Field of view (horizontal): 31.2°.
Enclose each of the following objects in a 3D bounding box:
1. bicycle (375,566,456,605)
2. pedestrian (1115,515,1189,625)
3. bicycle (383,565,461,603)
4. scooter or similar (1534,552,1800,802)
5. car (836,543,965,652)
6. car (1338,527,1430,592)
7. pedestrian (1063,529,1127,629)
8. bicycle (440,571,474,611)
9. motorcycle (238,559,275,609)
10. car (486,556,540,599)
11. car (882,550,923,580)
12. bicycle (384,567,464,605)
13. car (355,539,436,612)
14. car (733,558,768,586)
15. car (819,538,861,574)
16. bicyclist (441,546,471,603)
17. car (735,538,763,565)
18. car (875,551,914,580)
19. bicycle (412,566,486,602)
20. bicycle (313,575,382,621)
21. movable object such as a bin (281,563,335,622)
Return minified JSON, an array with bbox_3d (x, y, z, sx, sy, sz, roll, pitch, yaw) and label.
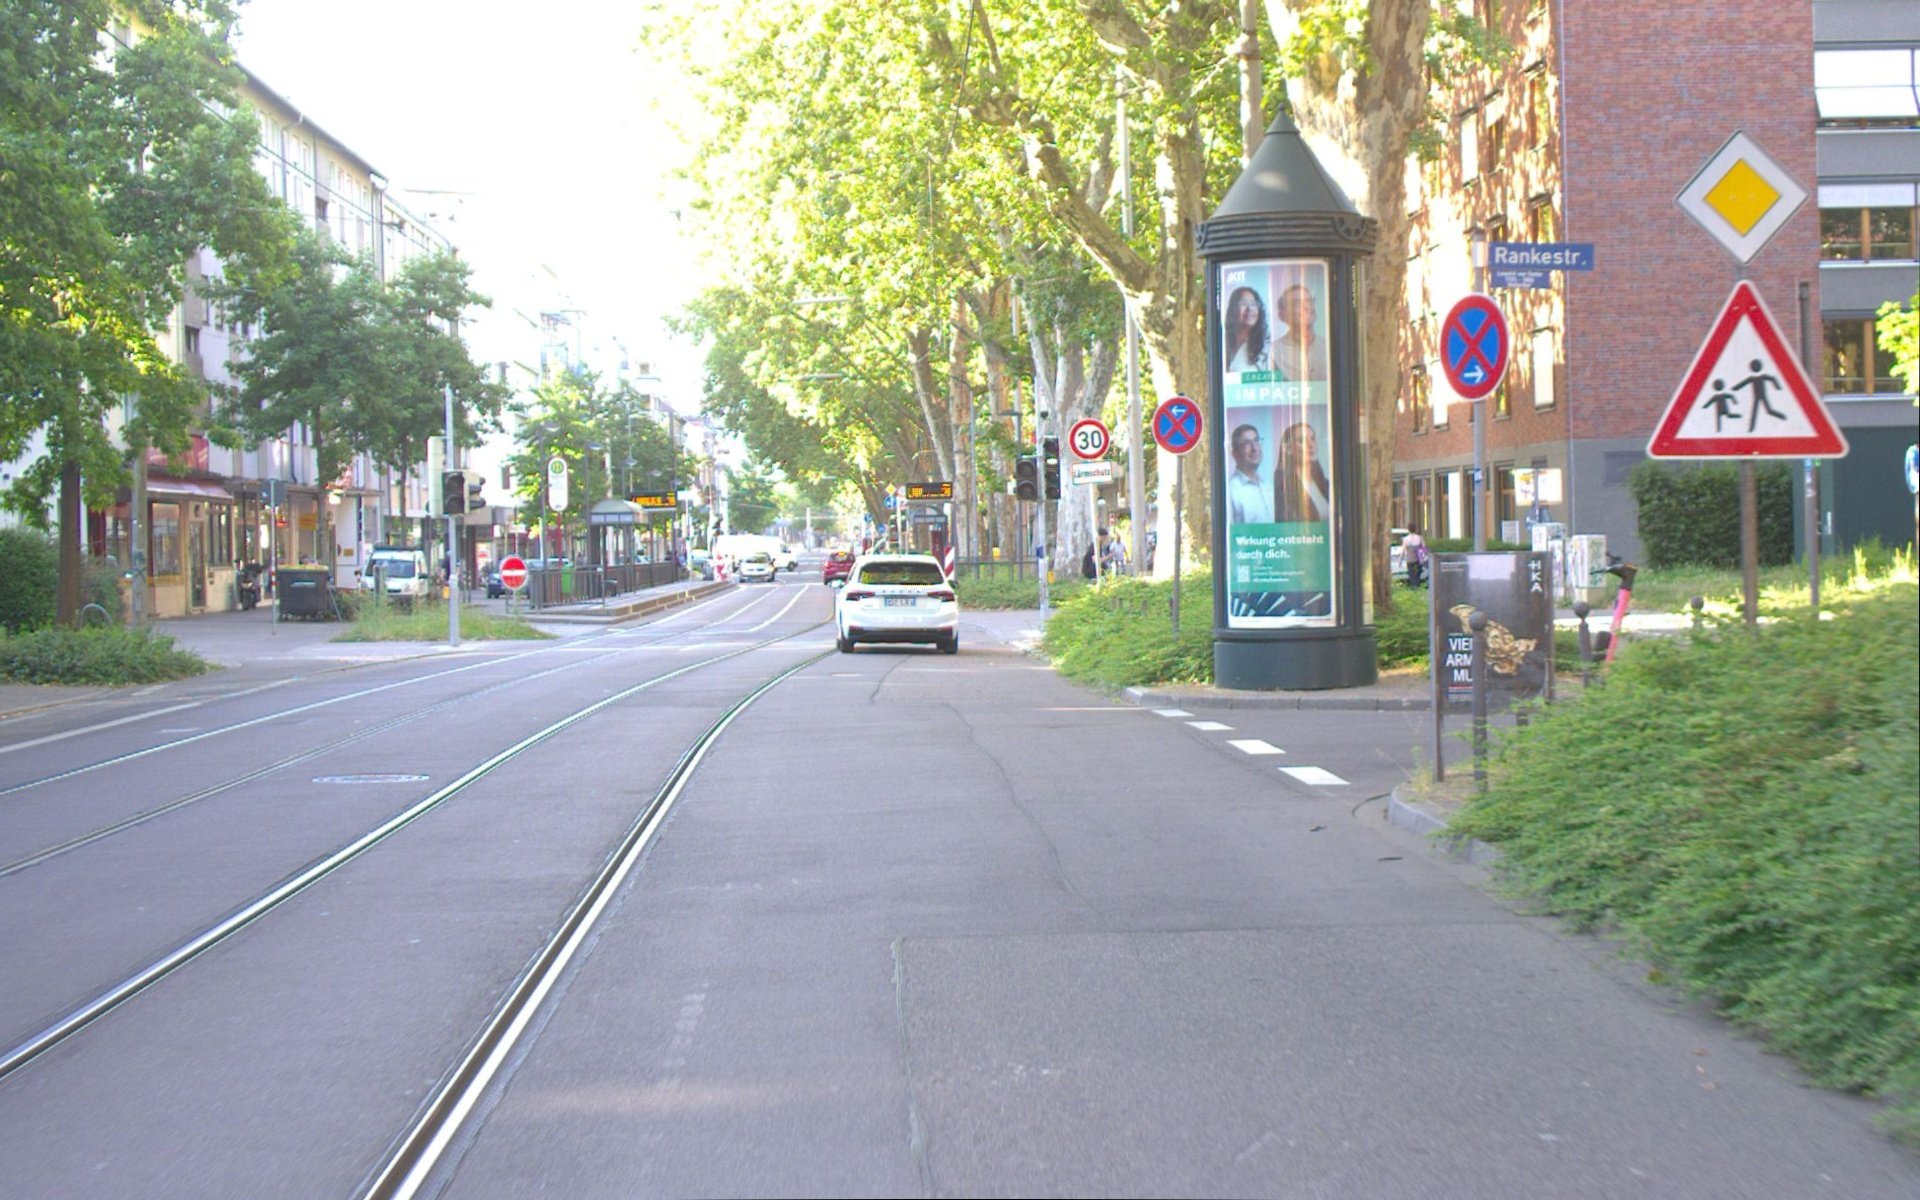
[{"bbox_3d":[-15.978,-0.416,100.971,2.253,1.070,0.636,2,1,-1],"label":"bicycle"},{"bbox_3d":[3.415,-0.542,61.199,0.982,1.857,1.016,-5,1,-7],"label":"pedestrian"},{"bbox_3d":[-16.350,-0.481,104.465,2.253,1.070,0.636,2,1,-1],"label":"bicycle"},{"bbox_3d":[3.663,0.390,17.861,1.208,1.235,0.570,-2,0,-4],"label":"scooter or similar"},{"bbox_3d":[-0.917,-0.073,50.943,1.788,1.508,4.000,-2,1,-2],"label":"car"},{"bbox_3d":[10.295,-0.987,83.644,1.600,1.490,3.417,-2,1,-3],"label":"car"},{"bbox_3d":[2.490,-0.395,63.363,0.994,1.805,0.864,-2,1,-7],"label":"pedestrian"},{"bbox_3d":[-13.023,-0.230,89.031,0.641,0.983,2.101,-3,1,-3],"label":"bicycle"},{"bbox_3d":[-19.189,-0.442,93.827,0.599,1.306,2.222,-2,1,-2],"label":"motorcycle"},{"bbox_3d":[-16.497,-0.840,127.052,1.593,1.543,4.000,1,1,-2],"label":"car"},{"bbox_3d":[-2.967,-1.794,176.562,1.993,1.448,4.000,-2,1,-2],"label":"car"},{"bbox_3d":[-15.993,-0.425,102.620,2.253,1.070,0.636,2,1,-1],"label":"bicycle"},{"bbox_3d":[-15.599,-0.696,95.154,1.688,1.933,4.000,-2,1,-2],"label":"car"},{"bbox_3d":[-10.900,-1.474,179.325,1.693,1.414,4.000,-2,1,-2],"label":"car"},{"bbox_3d":[-5.371,-1.968,153.613,1.788,1.508,4.000,-2,1,-2],"label":"car"},{"bbox_3d":[-13.051,-0.658,89.034,0.641,1.450,0.837,-3,1,-3],"label":"bicyclist"},{"bbox_3d":[-14.923,-3.445,243.311,1.866,1.886,4.000,-2,1,-2],"label":"car"},{"bbox_3d":[-3.469,-1.849,181.636,1.993,1.448,4.000,-2,1,-2],"label":"car"},{"bbox_3d":[-16.330,-0.521,109.888,2.253,1.070,0.636,2,1,-1],"label":"bicycle"},{"bbox_3d":[-14.925,-0.059,83.848,1.533,1.071,0.885,2,1,-3],"label":"bicycle"},{"bbox_3d":[-15.502,-0.188,81.758,1.169,1.344,0.783,2,0,-6],"label":"movable object such as a bin"}]
